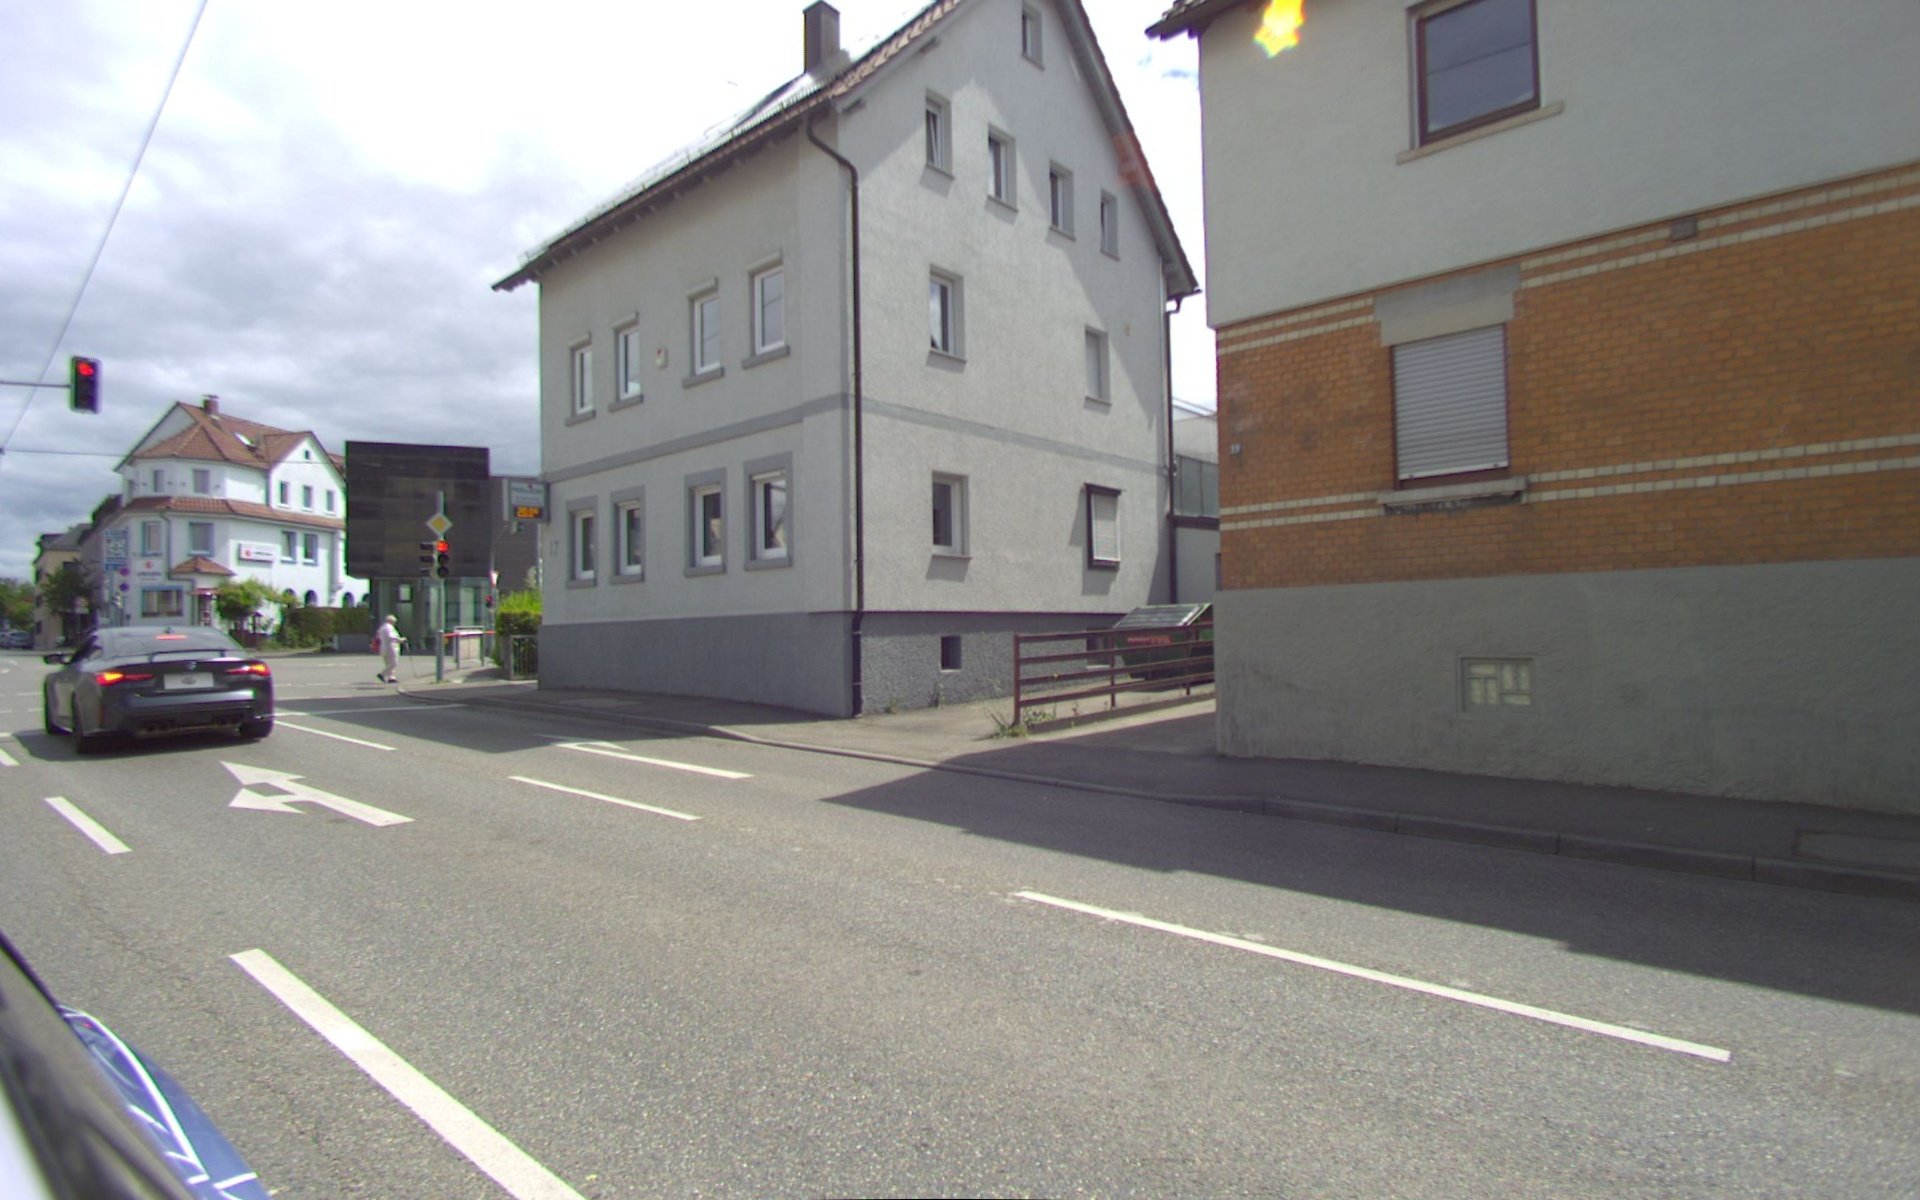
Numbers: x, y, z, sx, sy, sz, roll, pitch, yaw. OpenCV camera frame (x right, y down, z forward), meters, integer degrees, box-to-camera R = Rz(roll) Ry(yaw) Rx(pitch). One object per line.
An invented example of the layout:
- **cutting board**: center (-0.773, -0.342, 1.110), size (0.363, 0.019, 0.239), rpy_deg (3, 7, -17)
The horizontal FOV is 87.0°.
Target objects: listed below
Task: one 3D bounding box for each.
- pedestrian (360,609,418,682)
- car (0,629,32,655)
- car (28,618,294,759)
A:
- **pedestrian**: center (-13.284, 1.054, 23.553), size (0.832, 1.650, 0.866), rpy_deg (-1, -2, 27)
- **car**: center (-75.978, 3.342, 81.149), size (3.999, 2.029, 1.972), rpy_deg (-2, -3, 42)
- **car**: center (-10.256, 0.994, 12.854), size (4.617, 1.468, 1.971), rpy_deg (-2, -3, 43)
